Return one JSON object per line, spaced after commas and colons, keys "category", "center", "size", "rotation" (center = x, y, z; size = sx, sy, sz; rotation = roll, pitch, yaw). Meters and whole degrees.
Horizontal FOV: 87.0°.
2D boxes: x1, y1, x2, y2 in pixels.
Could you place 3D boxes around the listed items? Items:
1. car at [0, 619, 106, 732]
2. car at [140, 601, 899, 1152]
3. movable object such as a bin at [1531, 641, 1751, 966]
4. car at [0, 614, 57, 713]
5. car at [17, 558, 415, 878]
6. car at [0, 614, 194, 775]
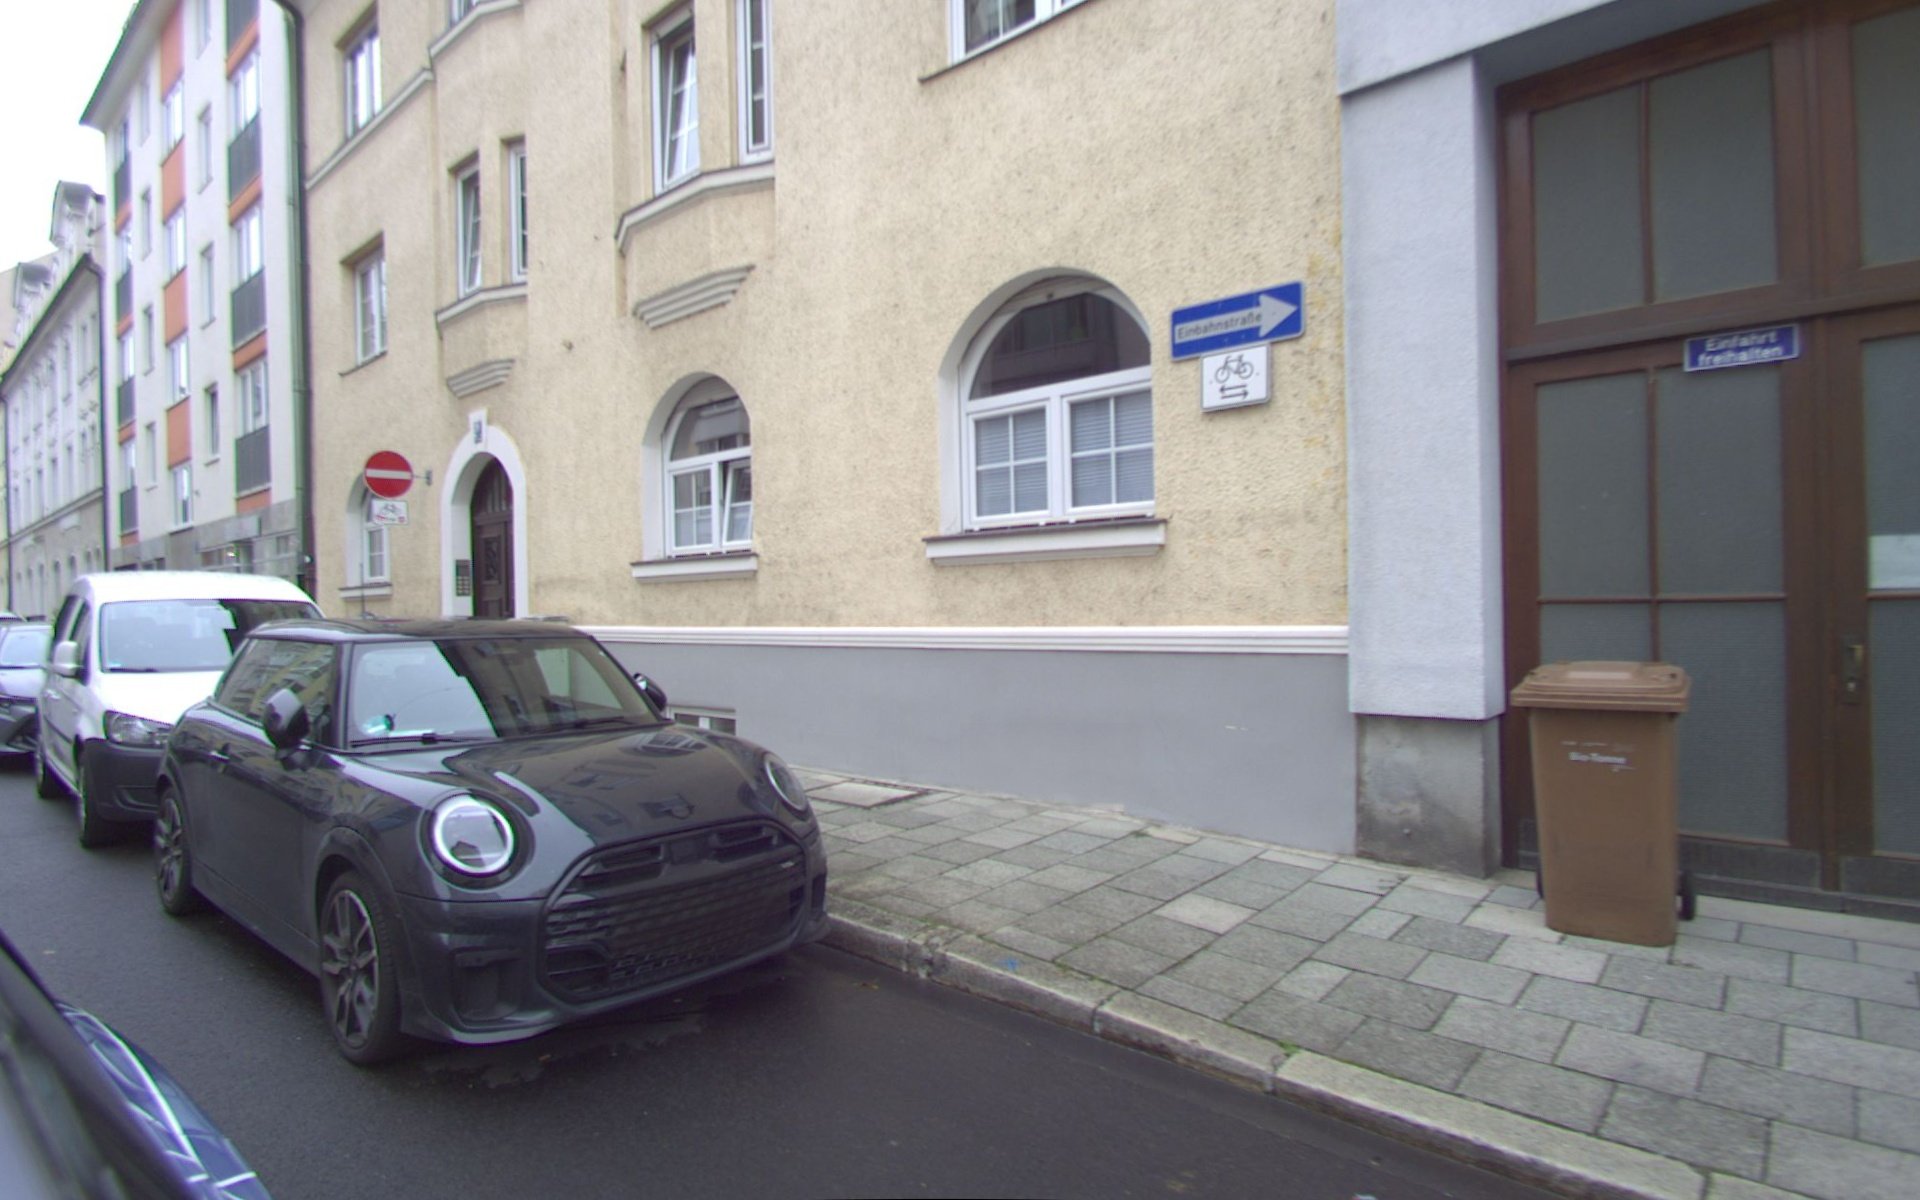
{"category": "car", "center": [-13.952, 1.046, 14.832], "size": [3.839, 1.486, 1.611], "rotation": [-2, -2, 41]}
{"category": "car", "center": [-2.172, 0.730, 4.475], "size": [3.733, 1.422, 1.634], "rotation": [0, -1, 41]}
{"category": "movable object such as a bin", "center": [2.754, 0.742, 4.075], "size": [0.622, 1.059, 0.799], "rotation": [-1, 4, 41]}
{"category": "car", "center": [-17.388, 1.073, 17.614], "size": [4.302, 1.617, 1.764], "rotation": [-2, -2, 38]}
{"category": "car", "center": [-5.896, 0.681, 7.804], "size": [4.249, 1.802, 1.705], "rotation": [0, -1, 43]}
{"category": "car", "center": [-9.979, 0.920, 11.194], "size": [4.111, 1.486, 1.654], "rotation": [-1, -2, 42]}
